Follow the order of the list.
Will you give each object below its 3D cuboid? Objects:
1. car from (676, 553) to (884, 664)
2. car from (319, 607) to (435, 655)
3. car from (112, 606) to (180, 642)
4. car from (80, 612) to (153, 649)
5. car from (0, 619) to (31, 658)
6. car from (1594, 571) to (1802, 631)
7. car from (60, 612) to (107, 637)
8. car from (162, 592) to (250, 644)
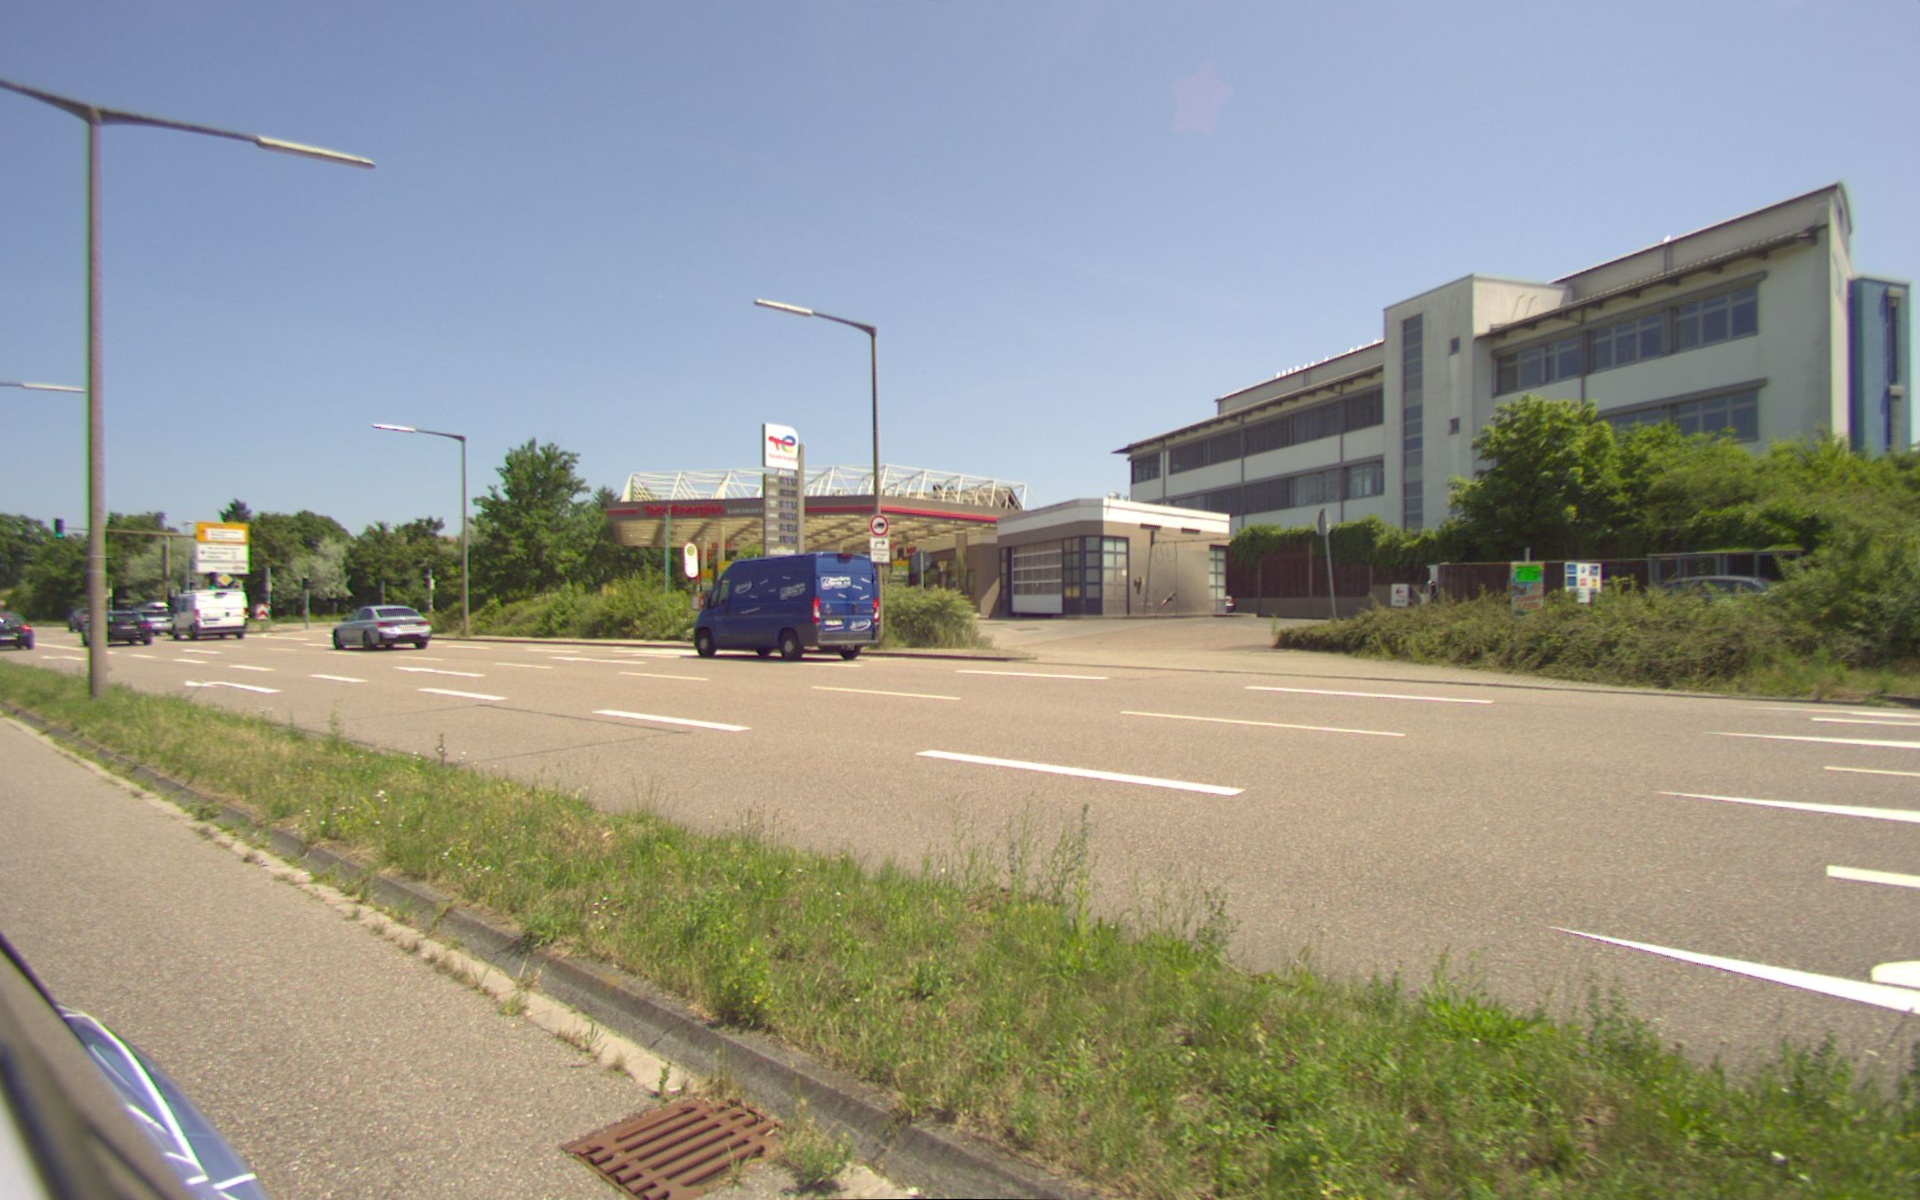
[{"bbox_3d":[-4.561,0.225,24.964,5.673,2.430,2.149,-1,-1,44],"label":"car"},{"bbox_3d":[-19.562,1.014,33.879,4.847,1.460,1.812,-1,-1,40],"label":"car"},{"bbox_3d":[-44.674,1.293,55.513,5.018,1.763,1.945,-1,2,40],"label":"car"},{"bbox_3d":[-35.472,1.272,42.520,4.563,1.469,1.712,-1,-1,42],"label":"car"},{"bbox_3d":[-38.311,1.514,40.140,4.189,1.445,1.658,-1,0,41],"label":"car"},{"bbox_3d":[19.013,0.042,26.208,1.853,1.420,4.007,0,-1,-40],"label":"car"},{"bbox_3d":[-58.078,1.644,67.029,3.995,1.551,1.642,-1,1,39],"label":"car"},{"bbox_3d":[-35.524,0.821,47.638,5.446,2.290,2.226,-1,1,41],"label":"car"}]
